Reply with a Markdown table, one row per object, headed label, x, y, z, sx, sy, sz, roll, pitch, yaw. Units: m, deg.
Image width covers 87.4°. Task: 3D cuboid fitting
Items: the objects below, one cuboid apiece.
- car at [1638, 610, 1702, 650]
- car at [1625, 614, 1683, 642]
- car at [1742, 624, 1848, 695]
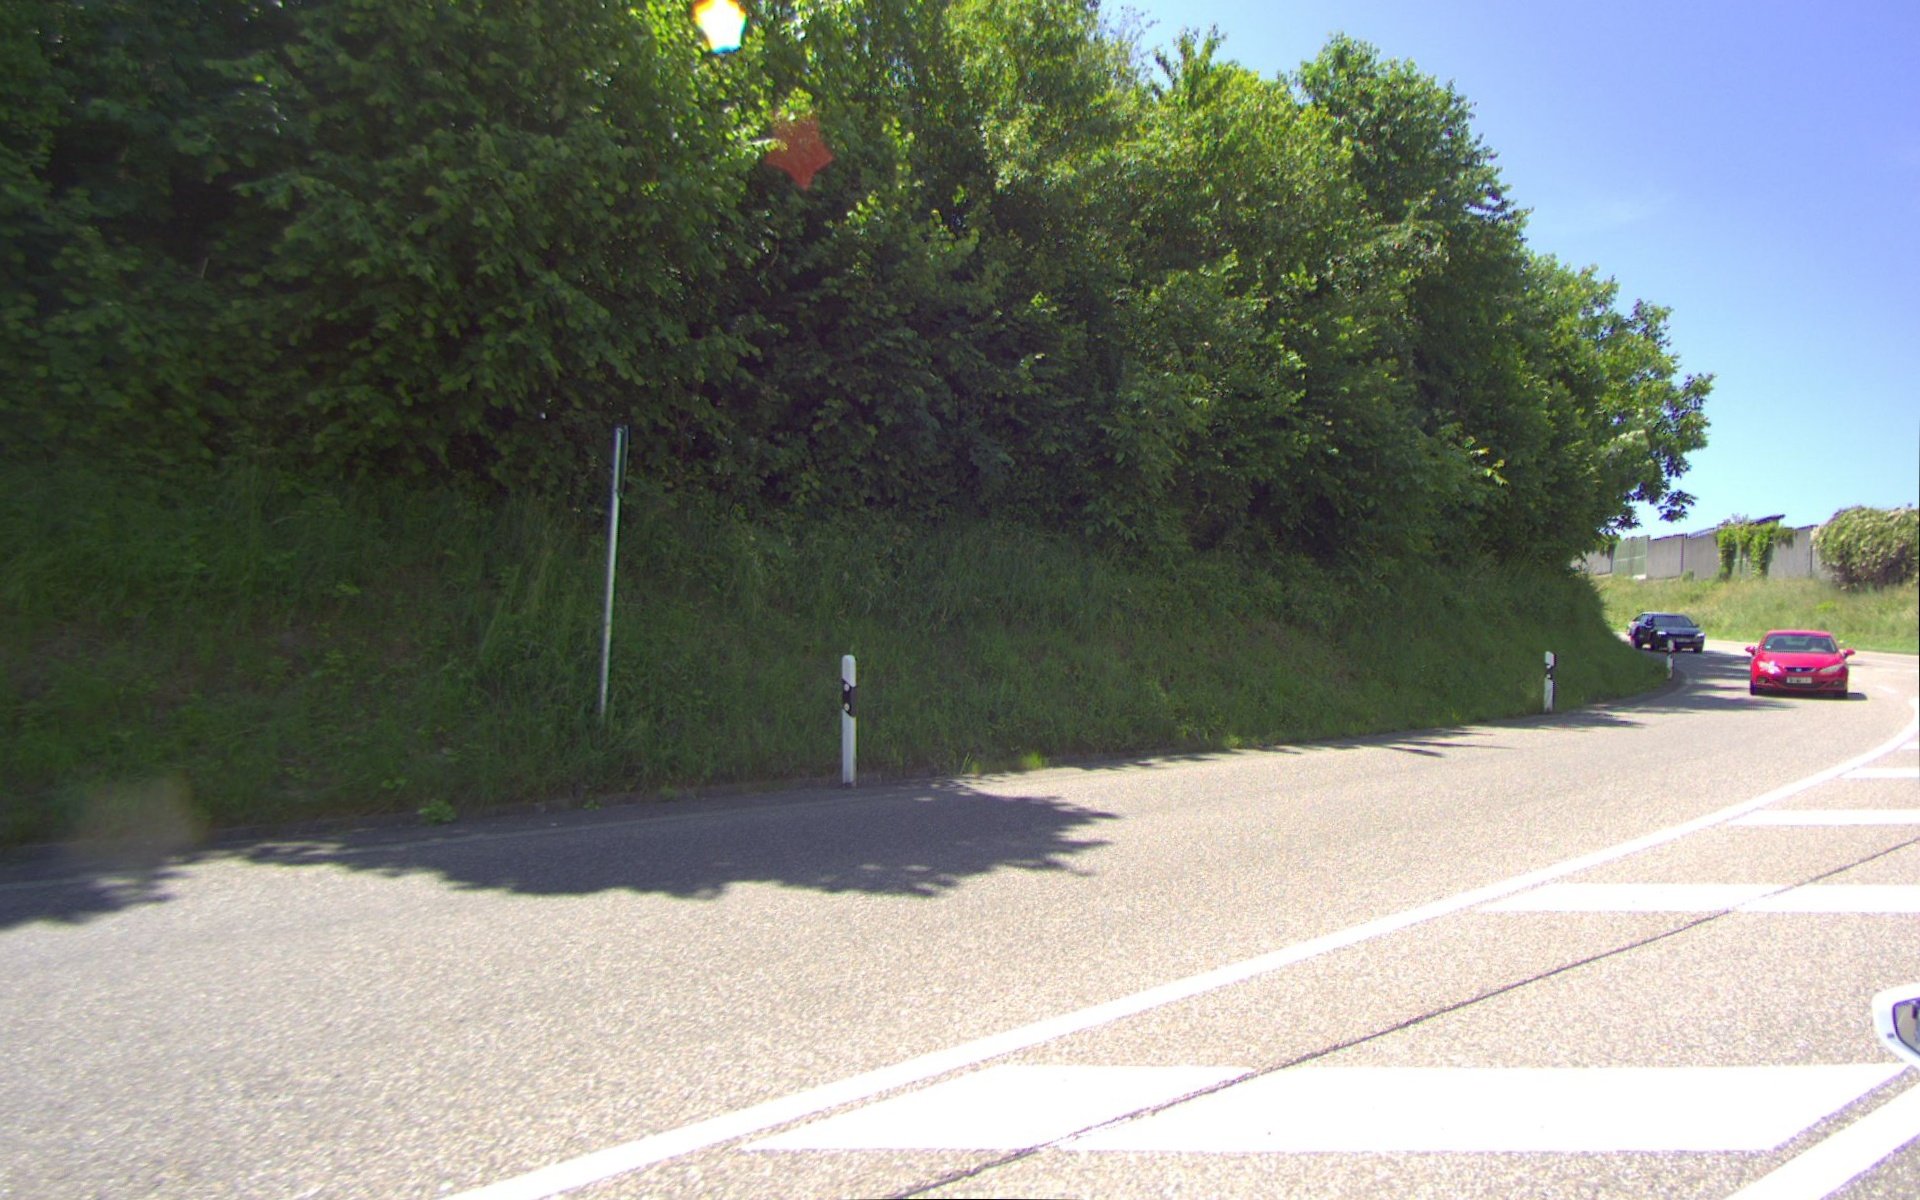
| label | x | y | z | sx | sy | sz | roll | pitch | yaw |
| --- | --- | --- | --- | --- | --- | --- | --- | --- | --- |
| car | 31.170 | 1.261 | 44.191 | 1.764 | 1.626 | 4.173 | 0 | 0 | 28 |
| car | 43.325 | 1.736 | 62.809 | 1.620 | 1.529 | 3.640 | 4 | 1 | 12 |
| car | 19.132 | 1.296 | 22.995 | 1.730 | 1.467 | 3.980 | -1 | -1 | 41 |
